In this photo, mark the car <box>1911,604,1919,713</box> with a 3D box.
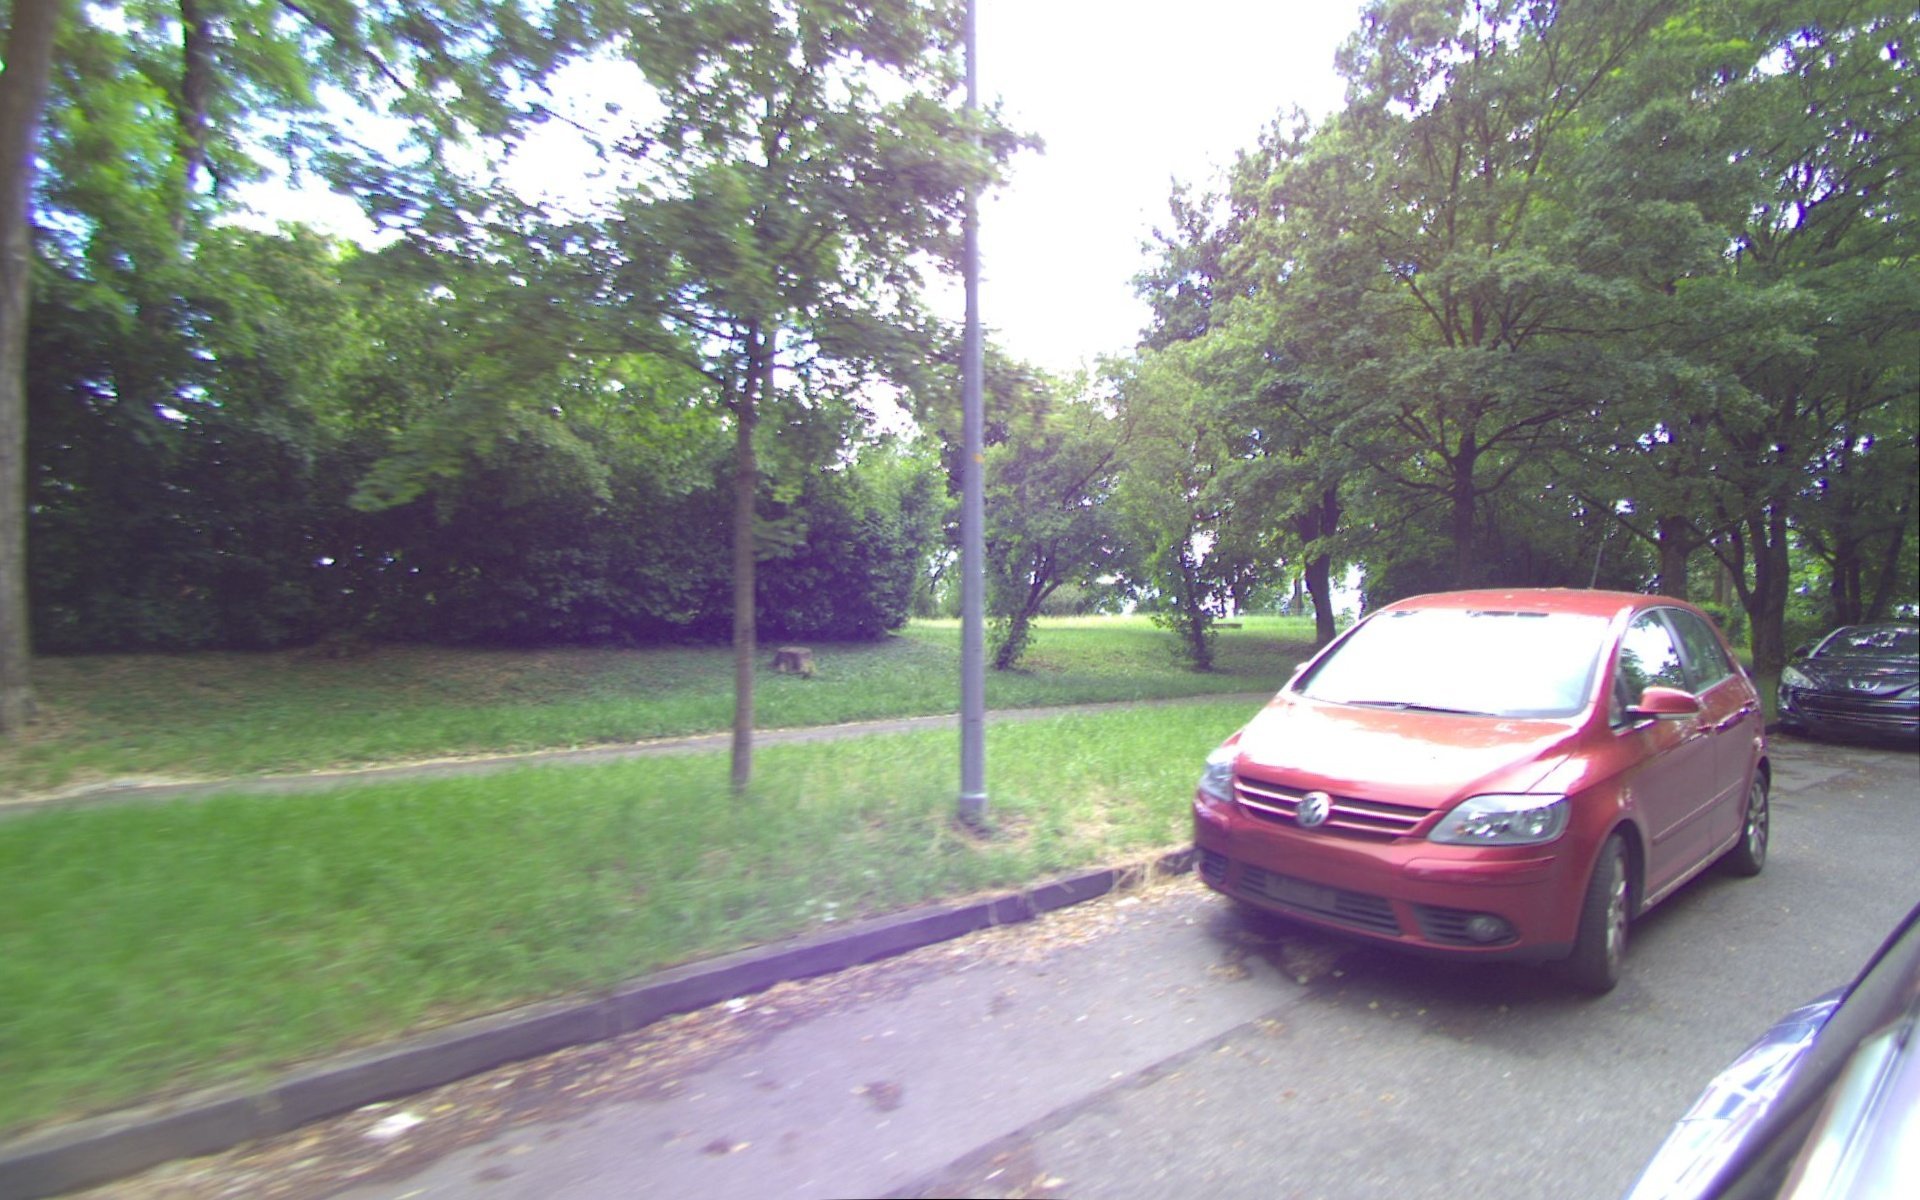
[{"bbox_3d":[15.798,0.811,14.957,4.589,1.530,1.716,-1,0,-36],"label":"car"}]

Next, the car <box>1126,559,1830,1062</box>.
[{"bbox_3d":[3.022,0.630,5.329,4.595,1.571,1.713,-1,0,-41],"label":"car"}]

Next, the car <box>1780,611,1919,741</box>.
[{"bbox_3d":[11.699,0.815,12.176,4.589,1.272,1.716,-1,0,-36],"label":"car"}]
